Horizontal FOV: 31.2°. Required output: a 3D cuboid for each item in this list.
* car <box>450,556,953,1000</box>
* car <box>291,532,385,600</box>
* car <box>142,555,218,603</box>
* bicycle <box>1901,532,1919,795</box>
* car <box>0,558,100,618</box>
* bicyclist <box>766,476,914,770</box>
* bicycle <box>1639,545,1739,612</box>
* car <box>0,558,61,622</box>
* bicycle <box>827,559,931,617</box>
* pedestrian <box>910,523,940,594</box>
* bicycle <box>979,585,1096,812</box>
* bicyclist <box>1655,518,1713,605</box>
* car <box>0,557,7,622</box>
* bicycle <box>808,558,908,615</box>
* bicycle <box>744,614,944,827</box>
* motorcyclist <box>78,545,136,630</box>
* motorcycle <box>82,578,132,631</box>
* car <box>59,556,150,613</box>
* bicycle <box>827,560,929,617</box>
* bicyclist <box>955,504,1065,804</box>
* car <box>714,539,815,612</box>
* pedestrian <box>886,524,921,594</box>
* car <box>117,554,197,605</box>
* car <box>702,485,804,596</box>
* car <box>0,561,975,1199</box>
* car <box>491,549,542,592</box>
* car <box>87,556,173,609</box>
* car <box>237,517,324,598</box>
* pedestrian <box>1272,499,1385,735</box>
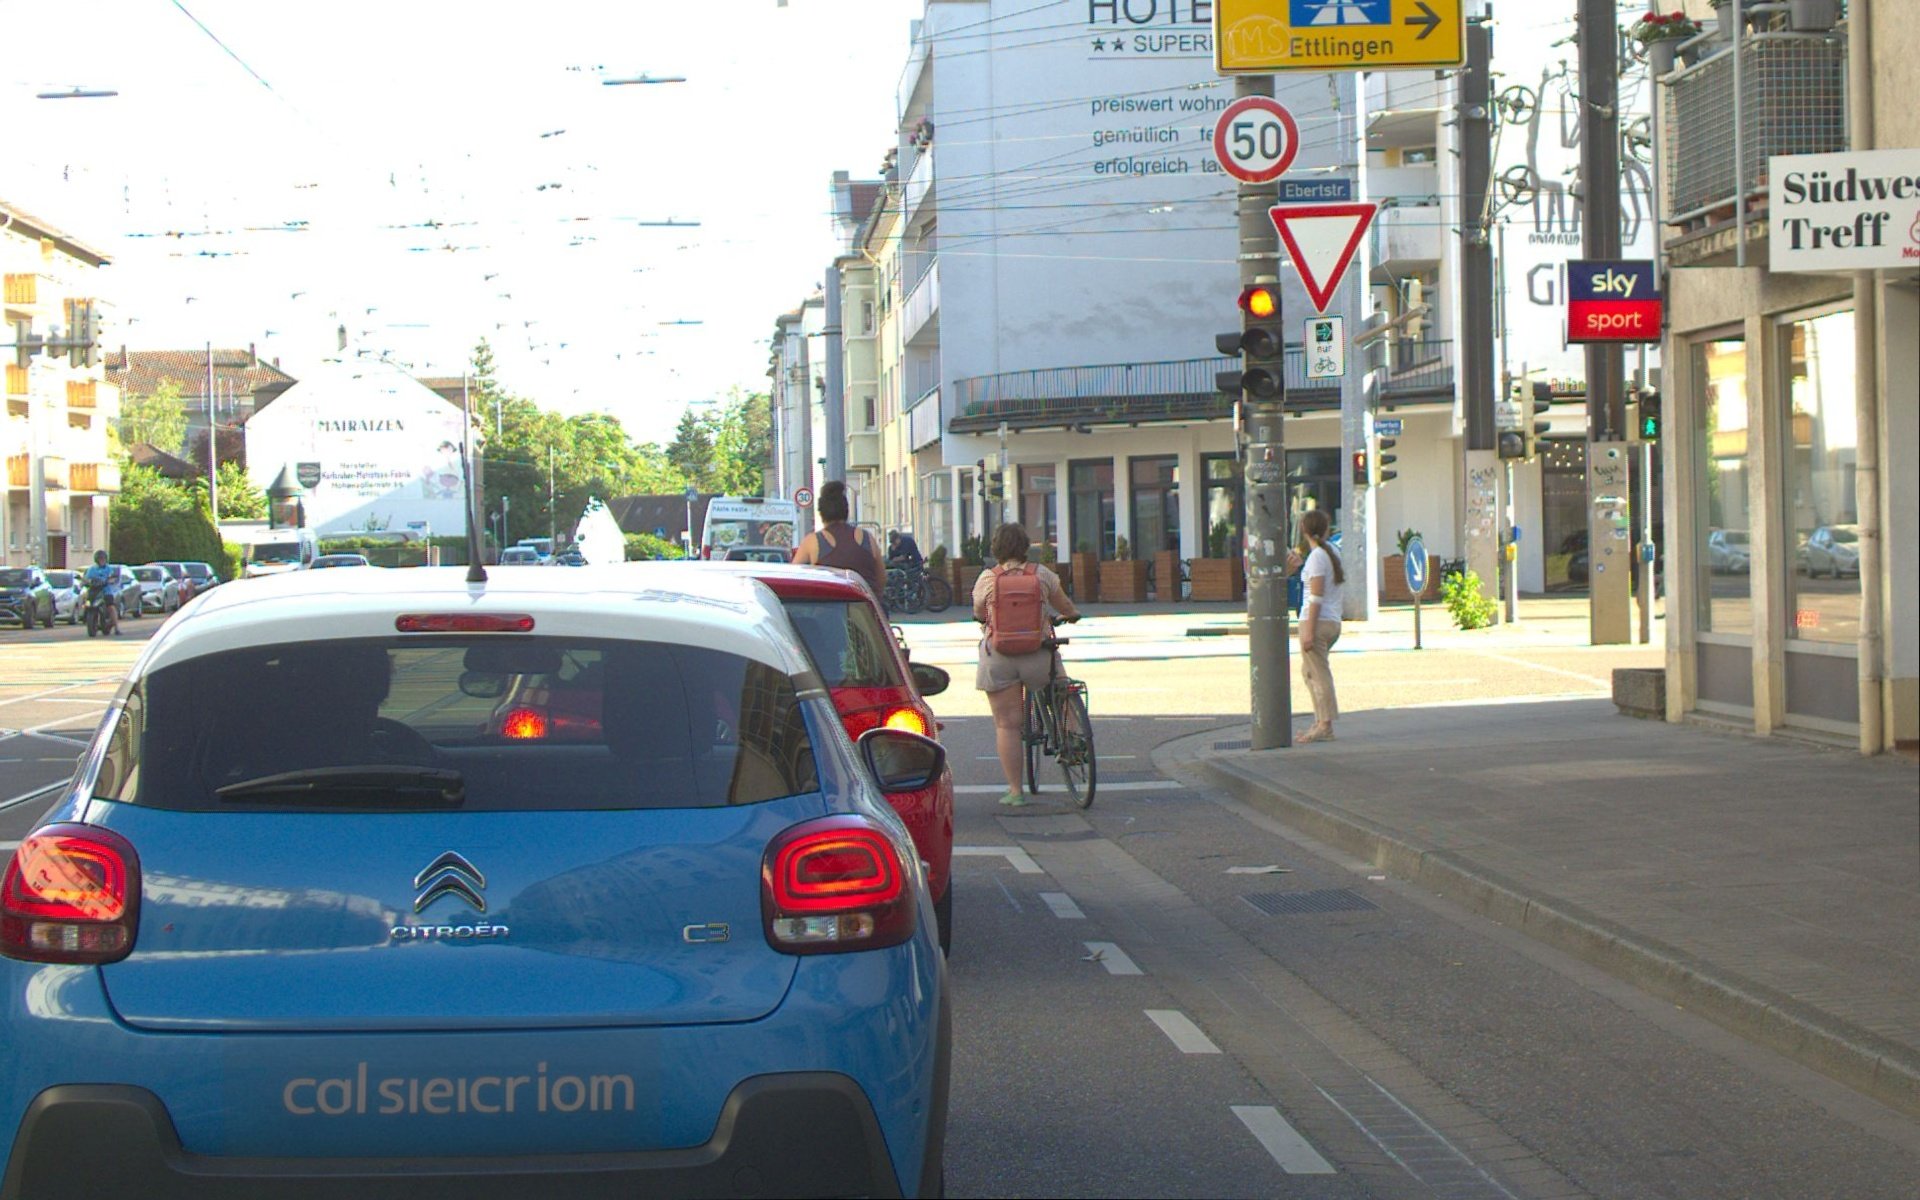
[{"bbox_3d":[-1.005,0.578,13.579,1.680,1.457,4.001,0,1,-4],"label":"car"},{"bbox_3d":[-15.530,-0.876,86.044,2.004,1.622,5.054,-1,1,-7],"label":"car"},{"bbox_3d":[-26.065,-0.719,114.995,1.950,1.514,4.001,-1,1,-6],"label":"car"},{"bbox_3d":[4.914,0.314,15.748,0.640,1.260,1.911,-1,1,-1],"label":"bicycle"},{"bbox_3d":[-24.303,-0.334,91.943,1.950,1.514,4.001,-1,1,-6],"label":"car"},{"bbox_3d":[-0.689,0.120,19.560,0.616,1.624,0.760,-2,1,-18],"label":"bicyclist"},{"bbox_3d":[12.083,-0.354,56.981,1.492,1.087,0.604,0,1,37],"label":"bicycle"},{"bbox_3d":[-23.783,-0.266,85.885,1.950,1.514,4.001,-1,1,-6],"label":"car"},{"bbox_3d":[-1.556,-0.240,65.809,1.904,1.061,0.642,-1,1,-7],"label":"bicycle"},{"bbox_3d":[-0.718,-0.846,70.001,0.467,1.415,0.527,-1,1,-13],"label":"pedestrian"},{"bbox_3d":[0.448,0.561,20.637,0.613,1.260,1.911,-1,1,-1],"label":"bicycle"},{"bbox_3d":[12.005,-0.640,57.019,0.728,1.429,0.604,0,1,37],"label":"bicyclist"},{"bbox_3d":[-23.318,-0.192,79.220,1.950,1.514,4.001,-1,1,-6],"label":"car"},{"bbox_3d":[-2.024,-0.272,68.308,1.904,1.061,0.642,-1,1,-7],"label":"bicycle"},{"bbox_3d":[-0.684,0.657,19.587,0.616,1.099,1.887,-2,1,-18],"label":"bicycle"},{"bbox_3d":[-16.673,-0.251,67.208,0.991,1.625,0.739,-1,1,-9],"label":"motorcyclist"},{"bbox_3d":[-16.692,0.074,67.282,0.751,0.973,2.098,-1,1,-9],"label":"motorcycle"},{"bbox_3d":[-24.456,-0.456,98.370,1.950,1.514,4.001,-1,1,-6],"label":"car"},{"bbox_3d":[-1.605,-0.234,67.115,1.904,1.061,0.642,-1,1,-7],"label":"bicycle"},{"bbox_3d":[0.291,0.304,20.594,0.600,1.740,1.084,-1,1,-1],"label":"bicyclist"},{"bbox_3d":[-3.880,-0.513,67.800,1.786,1.354,3.915,-1,1,-6],"label":"car"},{"bbox_3d":[-1.151,-0.843,70.253,0.525,1.415,0.546,-1,1,20],"label":"pedestrian"},{"bbox_3d":[-25.356,-0.670,108.653,1.950,1.514,4.001,-1,1,-6],"label":"car"},{"bbox_3d":[-4.430,-1.275,73.236,2.079,2.262,5.652,0,1,-4],"label":"car"},{"bbox_3d":[-0.959,0.670,7.370,1.680,1.457,4.001,0,1,-4],"label":"car"},{"bbox_3d":[-22.040,-1.496,170.836,2.338,2.032,5.051,-1,1,-6],"label":"car"},{"bbox_3d":[-24.923,-0.539,103.374,1.950,1.514,4.001,-1,1,-6],"label":"car"},{"bbox_3d":[-23.658,-1.501,119.931,2.493,2.703,5.839,-1,1,-7],"label":"car"},{"bbox_3d":[2.602,0.110,24.304,0.751,1.629,0.740,-1,1,6],"label":"pedestrian"}]
